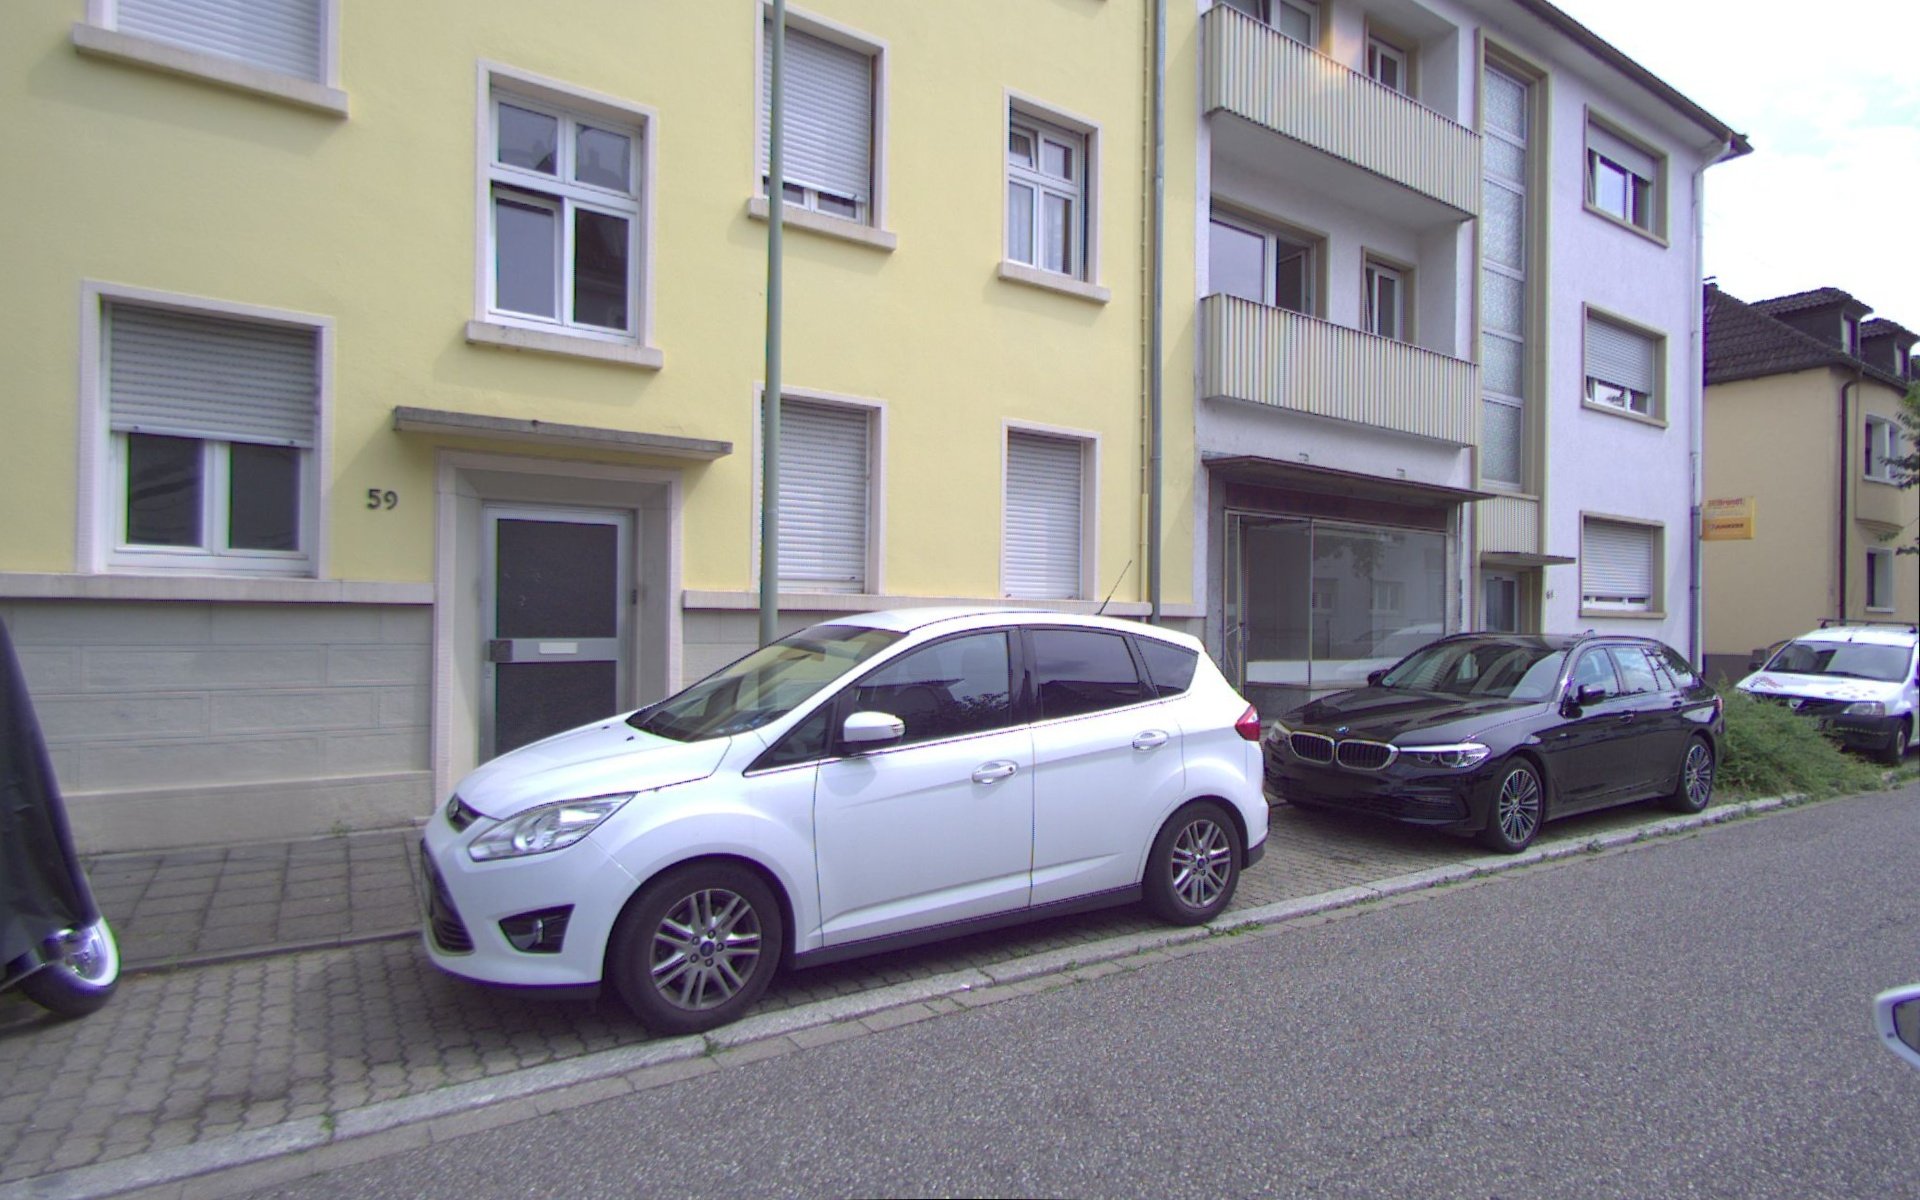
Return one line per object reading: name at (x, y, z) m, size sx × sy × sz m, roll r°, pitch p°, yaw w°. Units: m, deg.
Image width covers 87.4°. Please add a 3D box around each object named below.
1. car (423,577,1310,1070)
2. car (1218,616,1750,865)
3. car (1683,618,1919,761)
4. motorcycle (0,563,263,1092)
car at (-0.278, 0.789, 5.136) m, size 4.211 × 1.577 × 1.747 m, roll 2°, pitch -2°, yaw -34°
car at (4.458, 0.961, 8.264) m, size 4.761 × 1.512 × 1.780 m, roll 2°, pitch -1°, yaw -33°
car at (11.649, 1.105, 13.293) m, size 4.335 × 1.602 × 1.908 m, roll 2°, pitch -3°, yaw -33°
motorcycle at (-3.604, 0.723, 3.014) m, size 0.920 × 1.698 × 2.475 m, roll 0°, pitch -1°, yaw 14°
